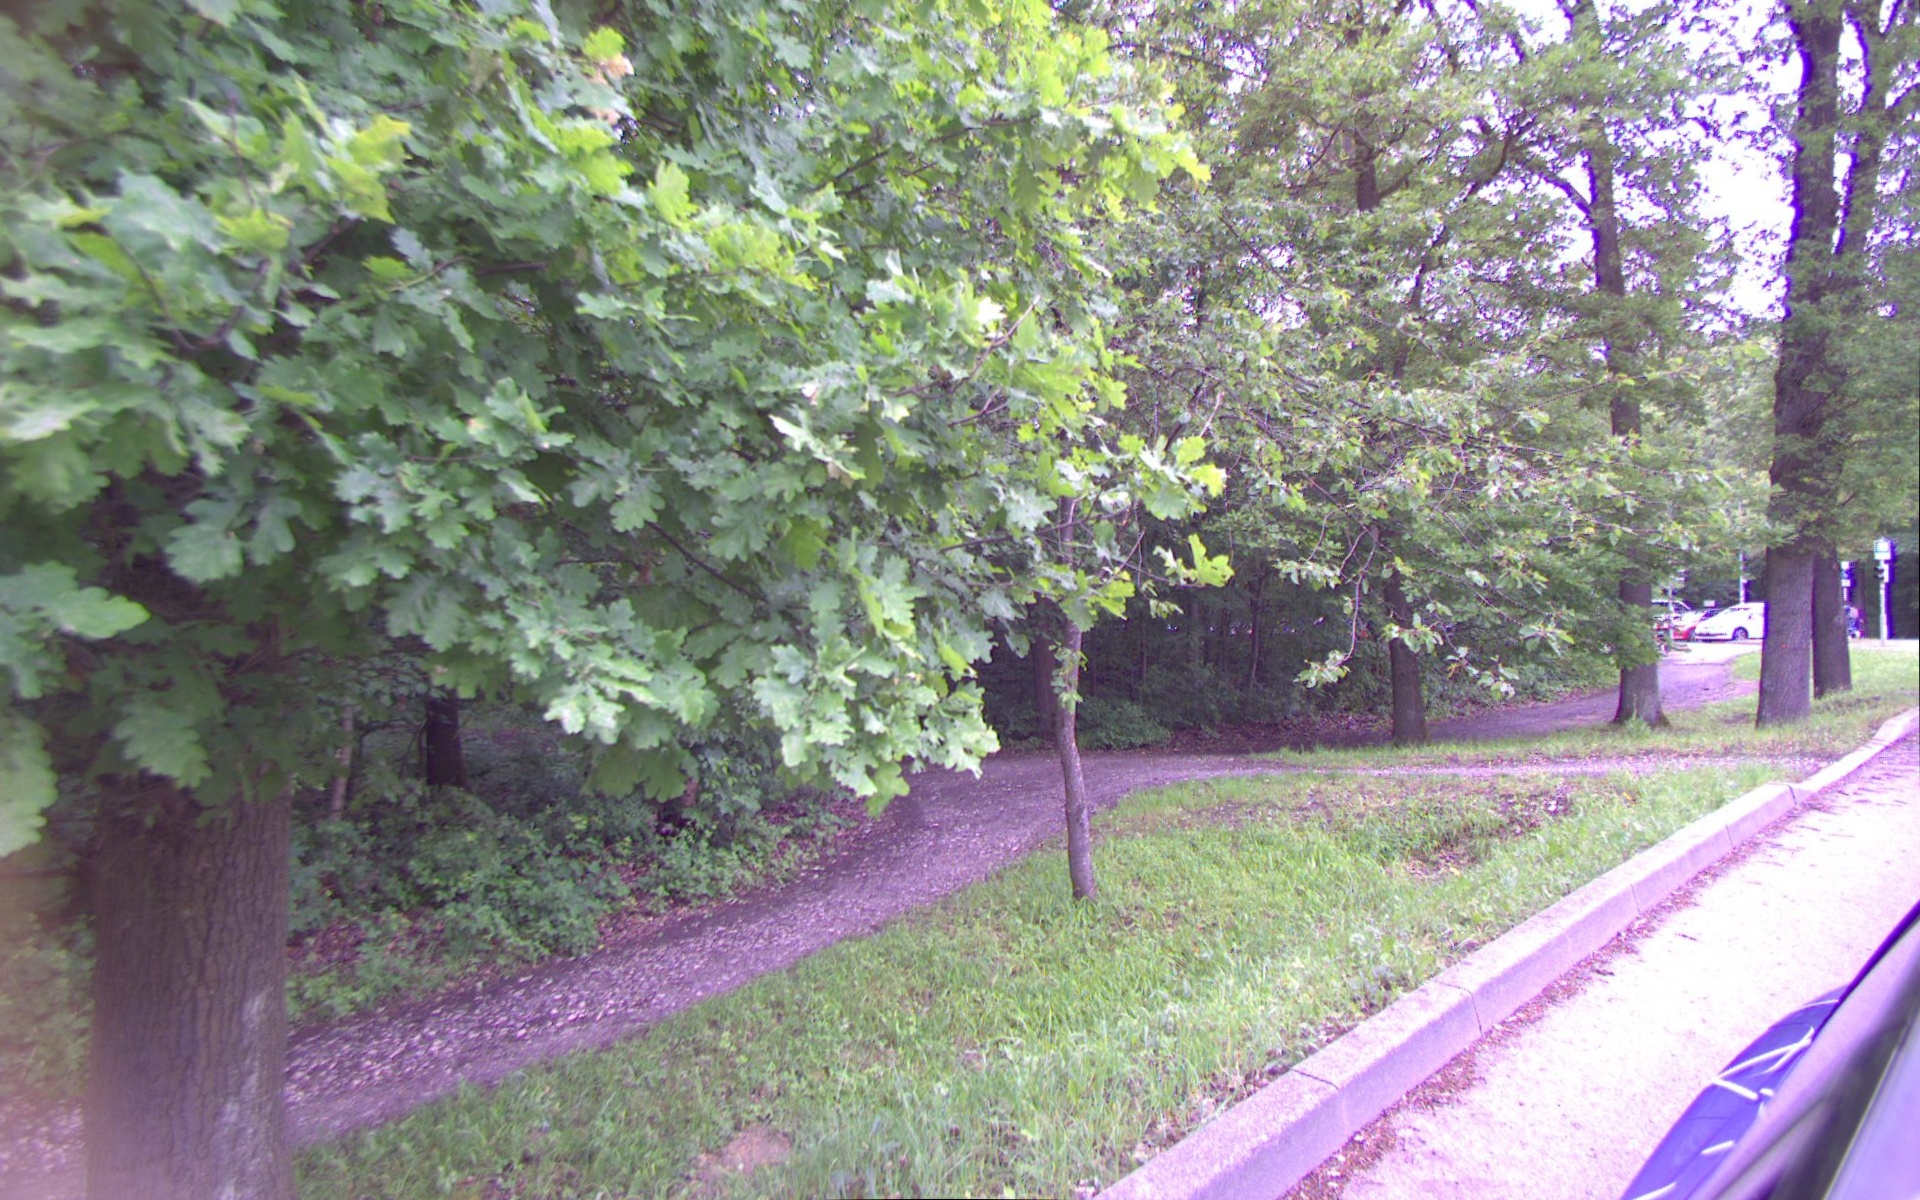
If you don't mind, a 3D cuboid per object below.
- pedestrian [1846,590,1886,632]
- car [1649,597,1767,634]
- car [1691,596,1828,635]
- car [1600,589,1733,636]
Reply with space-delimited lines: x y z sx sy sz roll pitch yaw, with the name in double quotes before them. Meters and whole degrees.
"pedestrian" 37.200 0.457 41.569 1.085 1.697 0.900 -1 0 33
"car" 33.636 0.706 45.572 3.920 1.572 1.896 -1 -2 -6
"car" 33.961 0.667 43.075 4.332 1.572 2.001 -1 -2 -6
"car" 33.520 0.598 48.101 5.077 1.982 2.065 -2 -2 -10
